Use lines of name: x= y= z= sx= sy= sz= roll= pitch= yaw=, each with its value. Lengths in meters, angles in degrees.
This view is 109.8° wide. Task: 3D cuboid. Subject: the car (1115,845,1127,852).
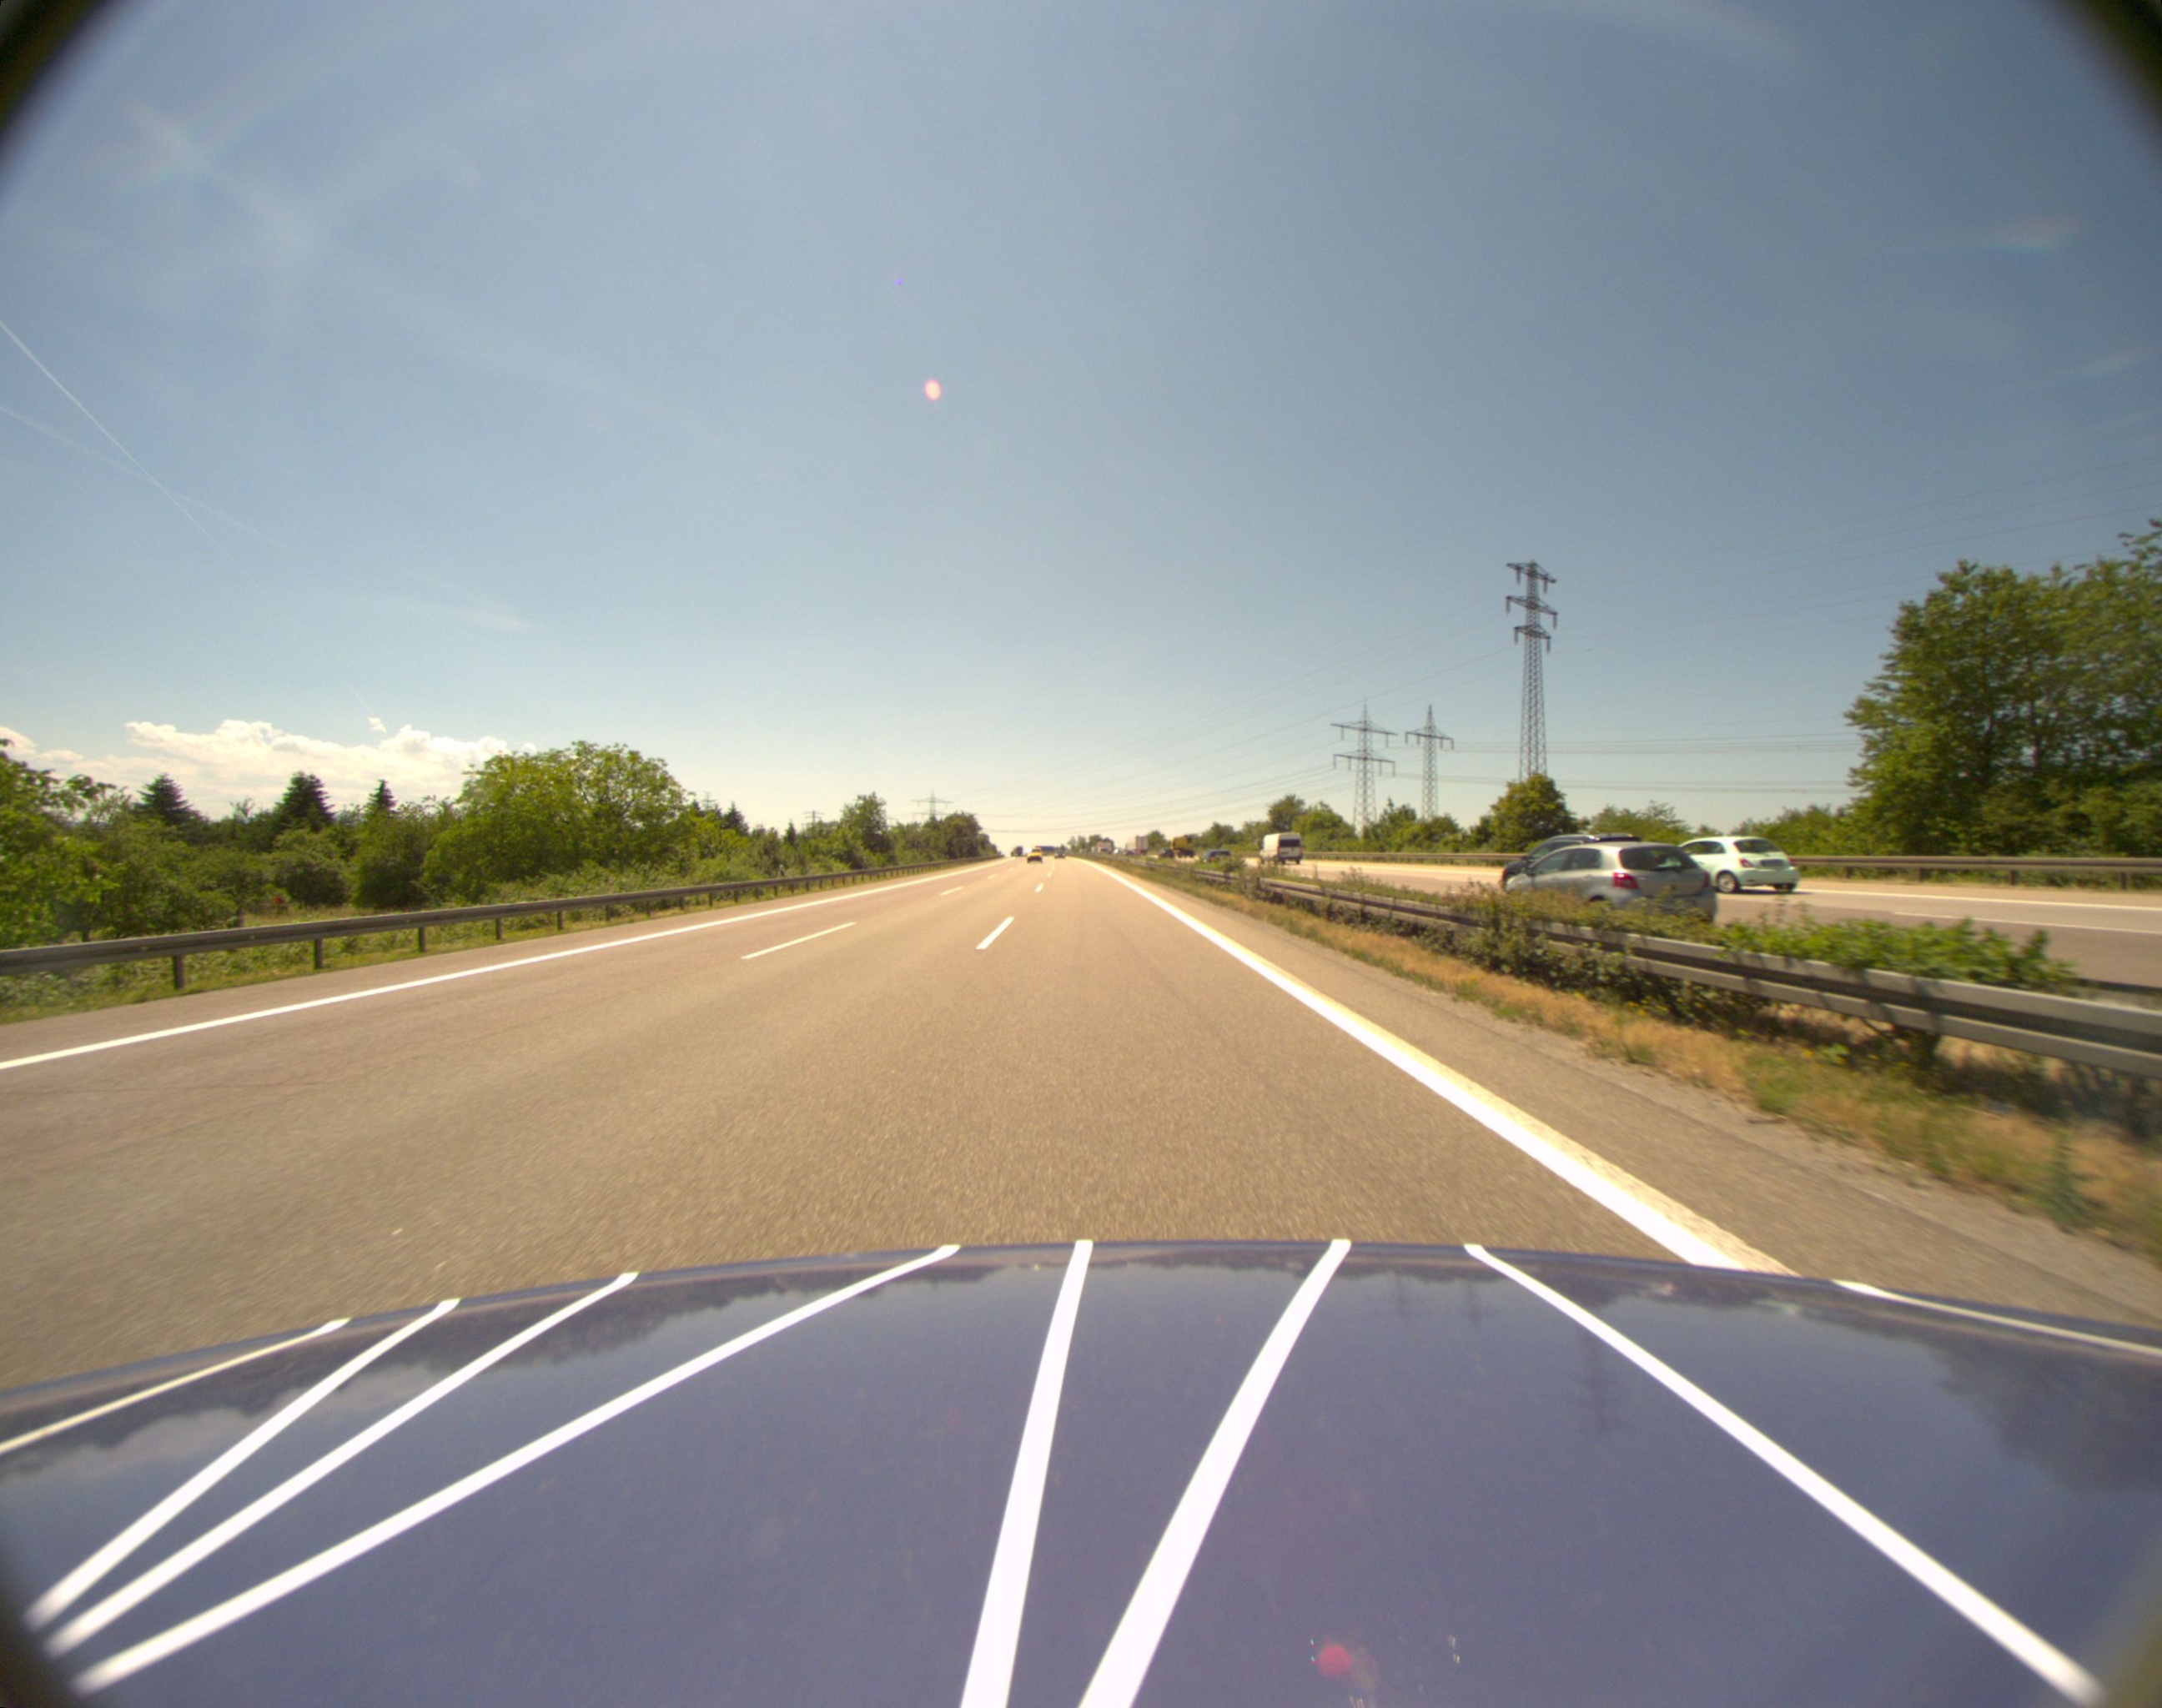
car: x=8.611 y=-1.204 z=162.806 sx=1.999 sy=1.539 sz=4.725 roll=-2 pitch=1 yaw=-3

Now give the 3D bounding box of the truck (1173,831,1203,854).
truck: x=15.489 y=-1.601 z=110.406 sx=2.528 sy=3.134 sz=9.663 roll=-2 pitch=1 yaw=-3

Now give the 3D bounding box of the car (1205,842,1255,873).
car: x=8.824 y=0.153 z=45.448 sx=1.999 sy=1.688 sz=4.606 roll=-2 pitch=1 yaw=-1

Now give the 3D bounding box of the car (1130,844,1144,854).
car: x=9.947 y=-0.837 z=135.528 sx=1.999 sy=1.726 sz=4.812 roll=-2 pitch=1 yaw=-2

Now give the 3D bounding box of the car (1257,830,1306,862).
car: x=16.465 y=-0.660 z=62.895 sx=2.137 sy=2.463 sz=6.331 roll=-2 pitch=1 yaw=-2

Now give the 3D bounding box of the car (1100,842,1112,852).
car: x=5.045 y=-1.442 z=154.554 sx=1.999 sy=1.871 sz=5.719 roll=-2 pitch=1 yaw=-3

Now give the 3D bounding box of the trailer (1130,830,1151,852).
trailer: x=12.681 y=-2.611 z=163.010 sx=2.843 sy=4.232 sz=13.634 roll=-2 pitch=0 yaw=-3

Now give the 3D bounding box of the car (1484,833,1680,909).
car: x=12.655 y=0.356 z=19.647 sx=1.999 sy=1.688 sz=4.606 roll=-2 pitch=1 yaw=0

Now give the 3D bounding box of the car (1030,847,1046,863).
car: x=-5.514 y=0.136 z=97.499 sx=1.956 sy=2.001 sz=5.431 roll=0 pitch=-1 yaw=-4

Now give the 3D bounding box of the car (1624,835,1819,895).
car: x=17.608 y=0.251 z=21.189 sx=1.998 sy=1.449 sz=4.087 roll=-2 pitch=1 yaw=0

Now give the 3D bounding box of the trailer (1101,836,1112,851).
trailer: x=7.706 y=-3.085 z=230.792 sx=2.513 sy=4.019 sz=13.583 roll=-2 pitch=0 yaw=-2

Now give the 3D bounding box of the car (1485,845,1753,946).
car: x=9.238 y=0.601 z=13.563 sx=1.751 sy=1.458 sz=4.249 roll=-2 pitch=1 yaw=0

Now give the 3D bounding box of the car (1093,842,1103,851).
car: x=4.930 y=-2.078 z=216.970 sx=1.999 sy=2.457 sz=6.486 roll=-2 pitch=1 yaw=-5

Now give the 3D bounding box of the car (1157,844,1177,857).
car: x=11.108 y=-0.456 z=98.411 sx=1.984 sy=1.501 sz=4.234 roll=-2 pitch=1 yaw=-2

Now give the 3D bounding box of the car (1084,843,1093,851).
car: x=2.144 y=-1.944 z=209.460 sx=1.999 sy=1.928 sz=5.336 roll=-2 pitch=0 yaw=-4

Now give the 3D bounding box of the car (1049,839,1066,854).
car: x=-4.229 y=-1.299 z=135.314 sx=2.688 sy=2.509 sz=5.965 roll=0 pitch=-1 yaw=-6

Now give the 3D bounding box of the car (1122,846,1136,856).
car: x=7.059 y=-0.409 z=112.021 sx=1.636 sy=1.346 sz=3.827 roll=-2 pitch=1 yaw=-2
